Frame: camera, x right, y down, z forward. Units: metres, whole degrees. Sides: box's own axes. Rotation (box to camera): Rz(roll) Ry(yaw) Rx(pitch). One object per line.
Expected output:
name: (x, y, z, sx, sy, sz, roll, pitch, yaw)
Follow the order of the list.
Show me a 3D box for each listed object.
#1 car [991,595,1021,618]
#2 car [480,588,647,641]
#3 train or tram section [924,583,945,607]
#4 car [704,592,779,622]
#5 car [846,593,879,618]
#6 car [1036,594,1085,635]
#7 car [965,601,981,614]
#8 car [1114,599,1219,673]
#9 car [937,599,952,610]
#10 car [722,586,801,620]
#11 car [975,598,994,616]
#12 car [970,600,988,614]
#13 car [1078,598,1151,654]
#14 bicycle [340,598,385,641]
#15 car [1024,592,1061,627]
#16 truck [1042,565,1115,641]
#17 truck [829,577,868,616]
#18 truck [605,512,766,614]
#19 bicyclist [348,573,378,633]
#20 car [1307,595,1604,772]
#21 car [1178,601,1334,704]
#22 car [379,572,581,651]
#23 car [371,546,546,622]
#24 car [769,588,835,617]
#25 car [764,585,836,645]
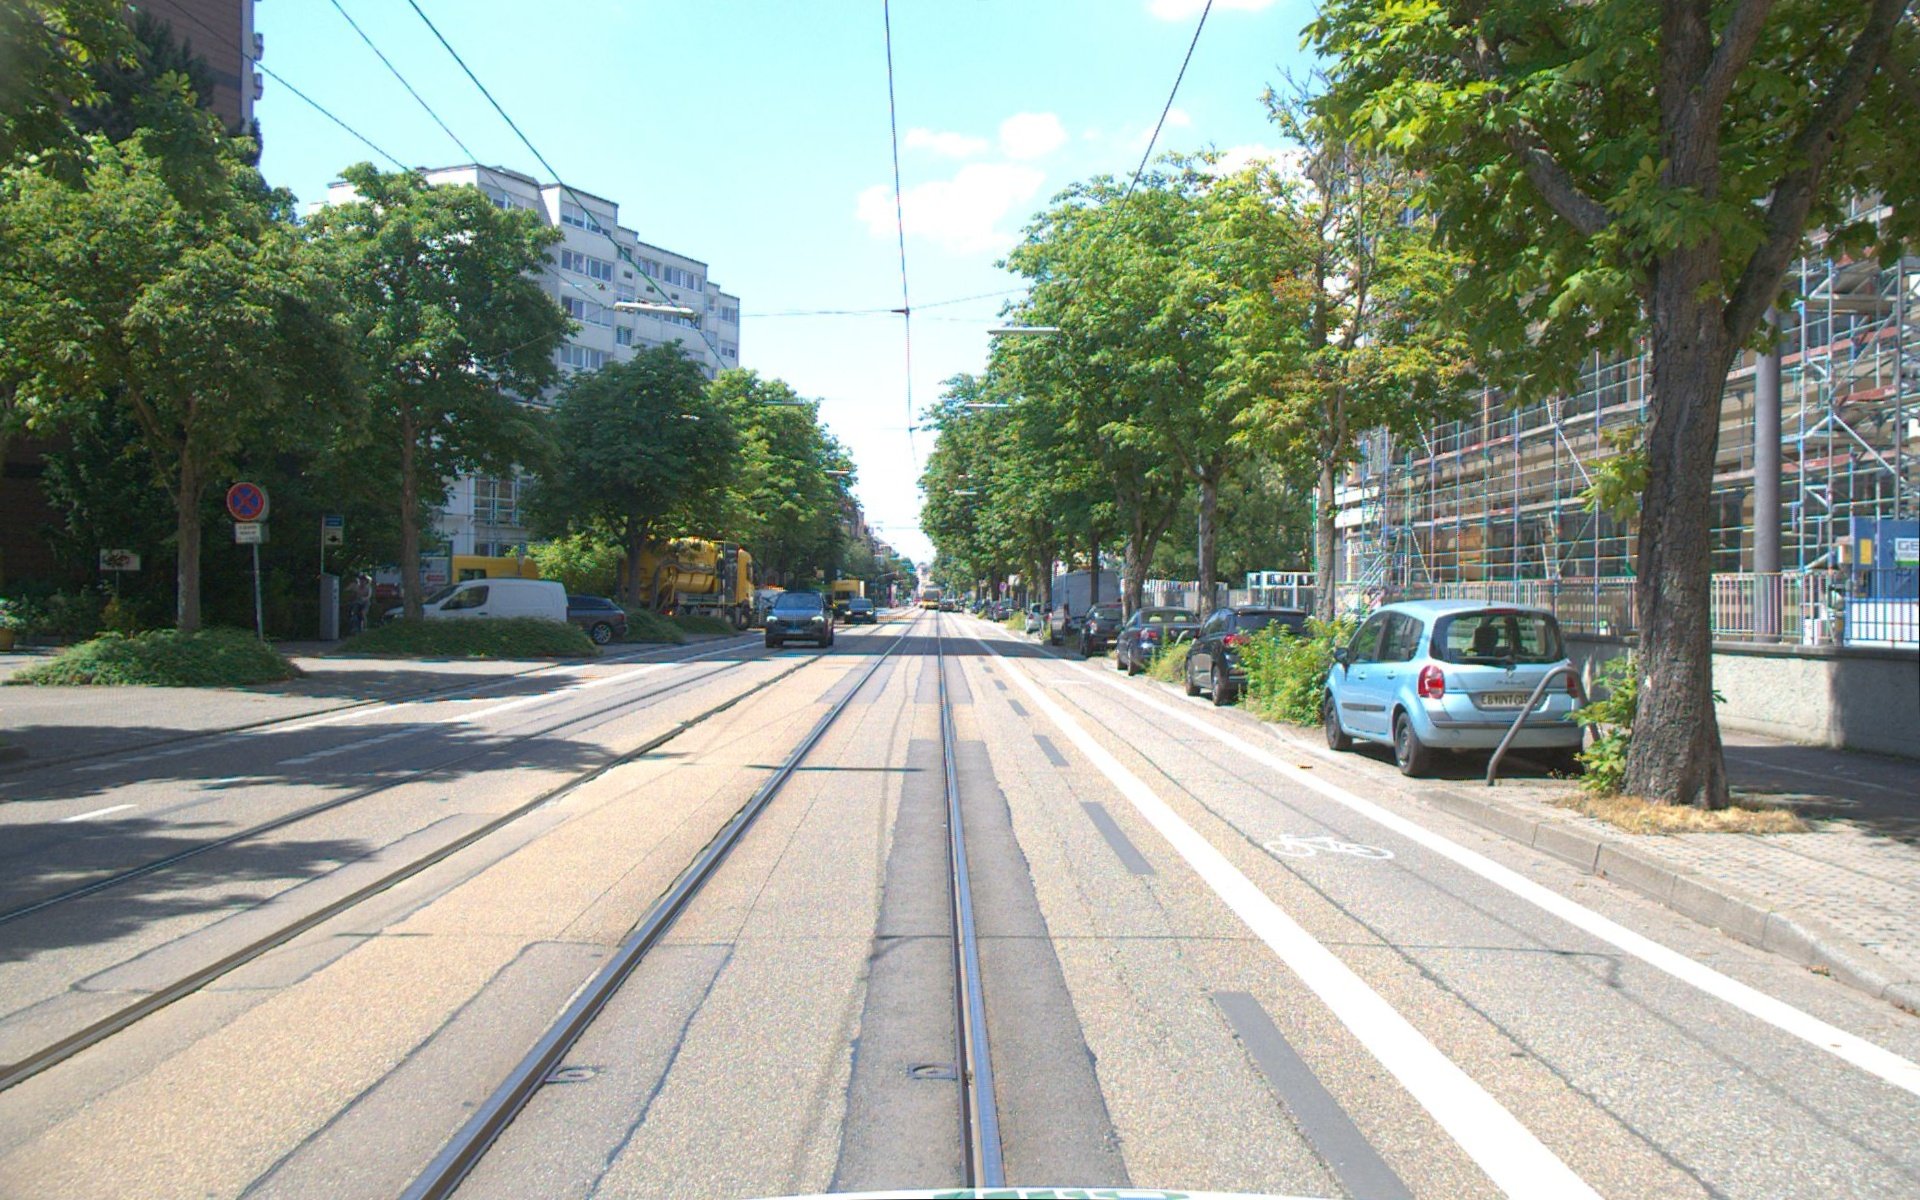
car: (3.082, 0.440, 111.287, 1.606, 1.511, 3.870, 0, 0, -4)
car: (-11.510, 0.427, 48.189, 4.405, 1.419, 1.747, 2, 0, -40)
train or tram section: (-3.815, -0.700, 246.360, 2.973, 3.498, 11.969, 0, 0, 0)
car: (-11.487, 0.370, 87.229, 1.731, 1.533, 3.687, -1, 0, 42)
car: (-5.646, 0.303, 96.496, 1.738, 1.422, 4.287, 0, 0, -1)
car: (3.958, 0.554, 65.608, 1.611, 1.561, 3.946, 0, 0, -1)
car: (1.449, 0.883, 189.887, 1.676, 1.448, 4.308, 0, 0, -1)
car: (4.485, 0.741, 36.527, 1.787, 1.497, 4.486, 0, 0, 0)
car: (-1.829, 0.524, 197.647, 1.745, 1.369, 3.415, 0, 0, -1)
car: (-12.012, 0.181, 100.404, 1.887, 1.968, 4.729, -2, 0, 41)
car: (2.267, 0.637, 152.325, 1.560, 1.645, 3.906, 0, 0, -1)
car: (1.980, 0.745, 171.676, 1.676, 1.448, 4.308, 0, 0, -1)
car: (4.393, 0.716, 47.482, 1.786, 1.497, 4.401, 0, 0, 2)
bicycle: (-15.211, 0.486, 42.146, 0.507, 1.065, 1.875, 2, 0, -3)
car: (3.847, 0.433, 77.674, 1.610, 1.561, 3.785, 0, 0, 1)
truck: (4.098, 0.085, 58.003, 1.973, 2.532, 5.954, 0, 0, -1)
truck: (-8.516, -0.308, 127.040, 2.312, 2.902, 7.378, -1, 0, 1)
truck: (-11.506, -1.411, 70.760, 2.657, 3.909, 10.972, 2, 0, 13)
bicyclist: (-15.195, 0.081, 42.113, 0.471, 1.507, 0.780, 2, 0, -3)
car: (4.838, 0.738, 16.758, 1.637, 1.544, 4.200, 0, 0, -2)
car: (4.595, 0.768, 26.185, 1.637, 1.463, 4.040, 0, 0, -2)
car: (-11.969, 0.296, 41.324, 4.492, 1.822, 1.879, 2, 0, -34)
car: (-18.830, -0.547, 62.482, 2.137, 2.610, 6.713, 1, -1, 29)
car: (-12.052, 0.188, 126.538, 4.718, 2.098, 1.997, -1, 0, -40)
car: (-4.774, 0.422, 49.764, 1.793, 1.710, 4.184, 0, 0, -1)
